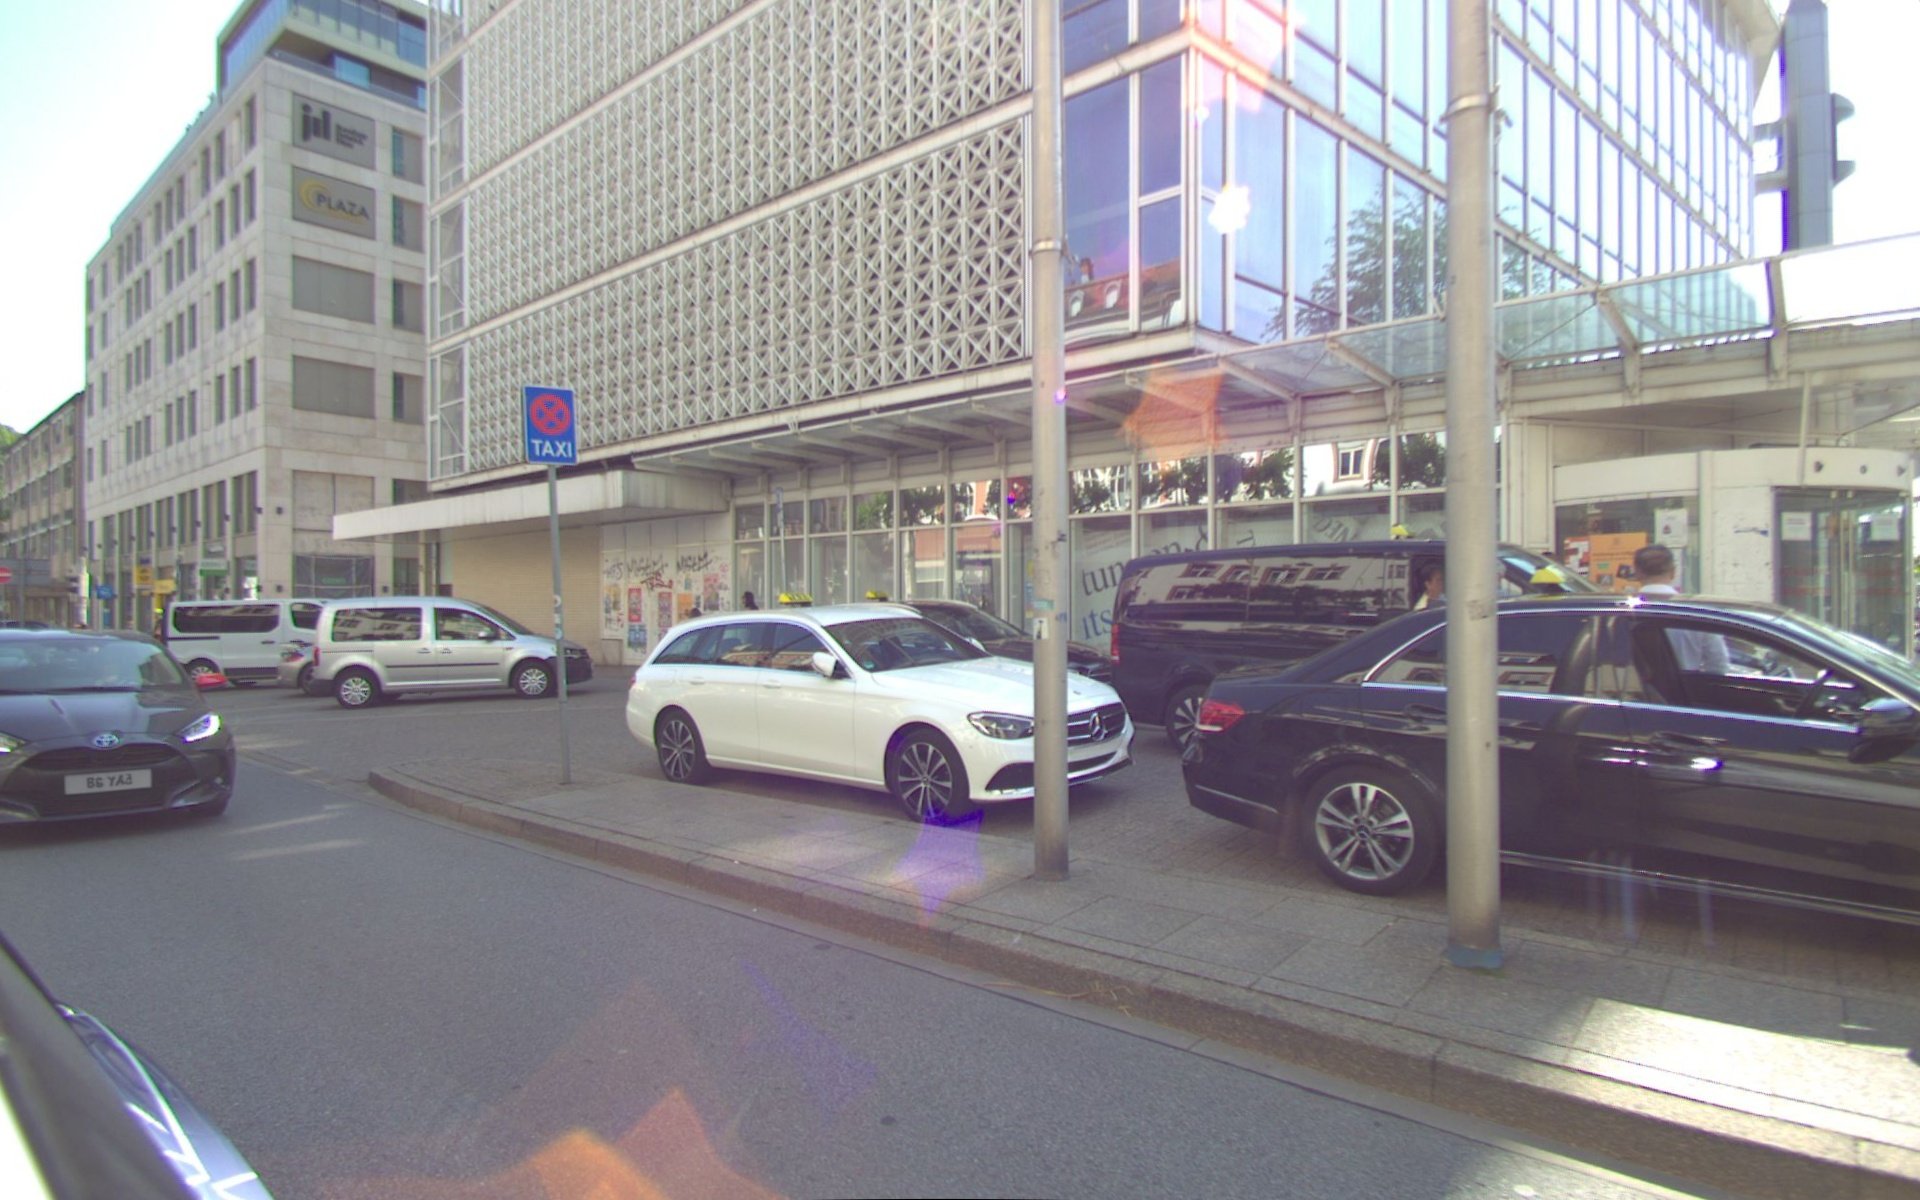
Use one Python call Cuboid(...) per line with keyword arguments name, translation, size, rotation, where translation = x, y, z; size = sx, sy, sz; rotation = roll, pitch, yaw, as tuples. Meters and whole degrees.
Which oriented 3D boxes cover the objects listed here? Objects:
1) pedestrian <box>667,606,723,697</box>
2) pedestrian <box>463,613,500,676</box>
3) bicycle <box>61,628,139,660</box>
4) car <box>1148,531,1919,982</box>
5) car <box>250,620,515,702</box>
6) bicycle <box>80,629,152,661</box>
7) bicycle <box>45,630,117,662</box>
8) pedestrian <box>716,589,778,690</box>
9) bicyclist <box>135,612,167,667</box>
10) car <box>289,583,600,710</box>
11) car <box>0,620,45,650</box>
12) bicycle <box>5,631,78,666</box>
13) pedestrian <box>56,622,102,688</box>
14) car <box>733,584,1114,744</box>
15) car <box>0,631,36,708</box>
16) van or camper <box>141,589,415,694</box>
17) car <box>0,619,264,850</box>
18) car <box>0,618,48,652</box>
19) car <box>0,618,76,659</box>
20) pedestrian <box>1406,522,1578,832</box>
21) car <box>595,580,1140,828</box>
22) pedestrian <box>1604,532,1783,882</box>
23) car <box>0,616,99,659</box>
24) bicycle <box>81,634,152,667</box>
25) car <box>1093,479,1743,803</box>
Cuboid(name="pedestrian", translation=(-4.415, 0.839, 16.860), size=(0.640, 1.447, 0.587), rotation=(0, 3, 38))
Cuboid(name="pedestrian", translation=(-12.818, 1.177, 27.104), size=(0.863, 1.648, 0.582), rotation=(-1, 0, 40))
Cuboid(name="bicycle", translation=(-34.421, 1.768, 40.551), size=(2.289, 1.135, 0.564), rotation=(-2, 1, -25))
Cuboid(name="car", translation=(3.407, 0.571, 4.773), size=(4.706, 1.612, 1.743), rotation=(-1, -1, 40))
Cuboid(name="car", translation=(-11.280, 1.144, 20.116), size=(4.225, 1.296, 1.977), rotation=(-2, 1, -18))
Cuboid(name="bicycle", translation=(-32.476, 1.724, 38.974), size=(2.028, 1.135, 0.649), rotation=(-1, -1, -23))
Cuboid(name="bicycle", translation=(-34.441, 1.801, 39.687), size=(2.029, 1.135, 0.564), rotation=(-2, 0, -25))
Cuboid(name="pedestrian", translation=(-3.707, 0.668, 17.628), size=(0.640, 1.673, 0.780), rotation=(0, 3, 38))
Cuboid(name="bicyclist", translation=(-29.447, 1.418, 36.850), size=(0.832, 1.975, 1.018), rotation=(1, -1, -43))
Cuboid(name="car", translation=(-8.605, 0.743, 17.327), size=(4.372, 1.924, 2.014), rotation=(-1, -1, -12))
Cuboid(name="car", translation=(-53.380, 2.050, 55.461), size=(4.425, 1.443, 1.869), rotation=(-6, 3, -30))
Cuboid(name="bicycle", translation=(-33.411, 1.754, 36.837), size=(2.033, 1.182, 0.606), rotation=(-1, 0, -4))
Cuboid(name="pedestrian", translation=(-21.647, 1.349, 24.859), size=(0.678, 1.571, 0.635), rotation=(-2, 0, 29))
Cuboid(name="car", translation=(-0.542, 0.665, 12.372), size=(4.392, 1.623, 1.975), rotation=(-1, 0, 37))
Cuboid(name="car", translation=(-19.823, 1.355, 20.117), size=(4.104, 1.407, 1.711), rotation=(-1, -1, 41))
Cuboid(name="van or camper", translation=(-14.949, 0.865, 22.450), size=(4.585, 2.029, 2.004), rotation=(-2, 0, -10))
Cuboid(name="car", translation=(-7.361, 0.954, 8.309), size=(4.106, 1.489, 1.843), rotation=(-3, -4, 43))
Cuboid(name="car", translation=(-50.827, 1.959, 53.055), size=(3.970, 1.604, 1.825), rotation=(-5, 3, -16))
Cuboid(name="car", translation=(-43.024, 1.795, 46.039), size=(4.107, 1.649, 2.105), rotation=(-5, 3, -41))
Cuboid(name="pedestrian", translation=(3.286, 0.447, 6.301), size=(0.610, 1.806, 0.694), rotation=(-1, -1, -10))
Cuboid(name="car", translation=(-1.019, 0.690, 8.512), size=(4.736, 1.534, 1.780), rotation=(-2, 0, 41))
Cuboid(name="pedestrian", translation=(3.993, 0.553, 5.537), size=(0.524, 1.806, 0.540), rotation=(-1, -1, -10))
Cuboid(name="car", translation=(-40.303, 1.638, 43.983), size=(3.965, 1.614, 1.965), rotation=(-2, 2, -27))
Cuboid(name="bicycle", translation=(-30.819, 1.834, 37.011), size=(1.963, 1.135, 0.800), rotation=(0, -2, -42))
Cuboid(name="car", translation=(3.600, 0.295, 8.579), size=(4.683, 2.029, 1.813), rotation=(-1, -1, 41))
